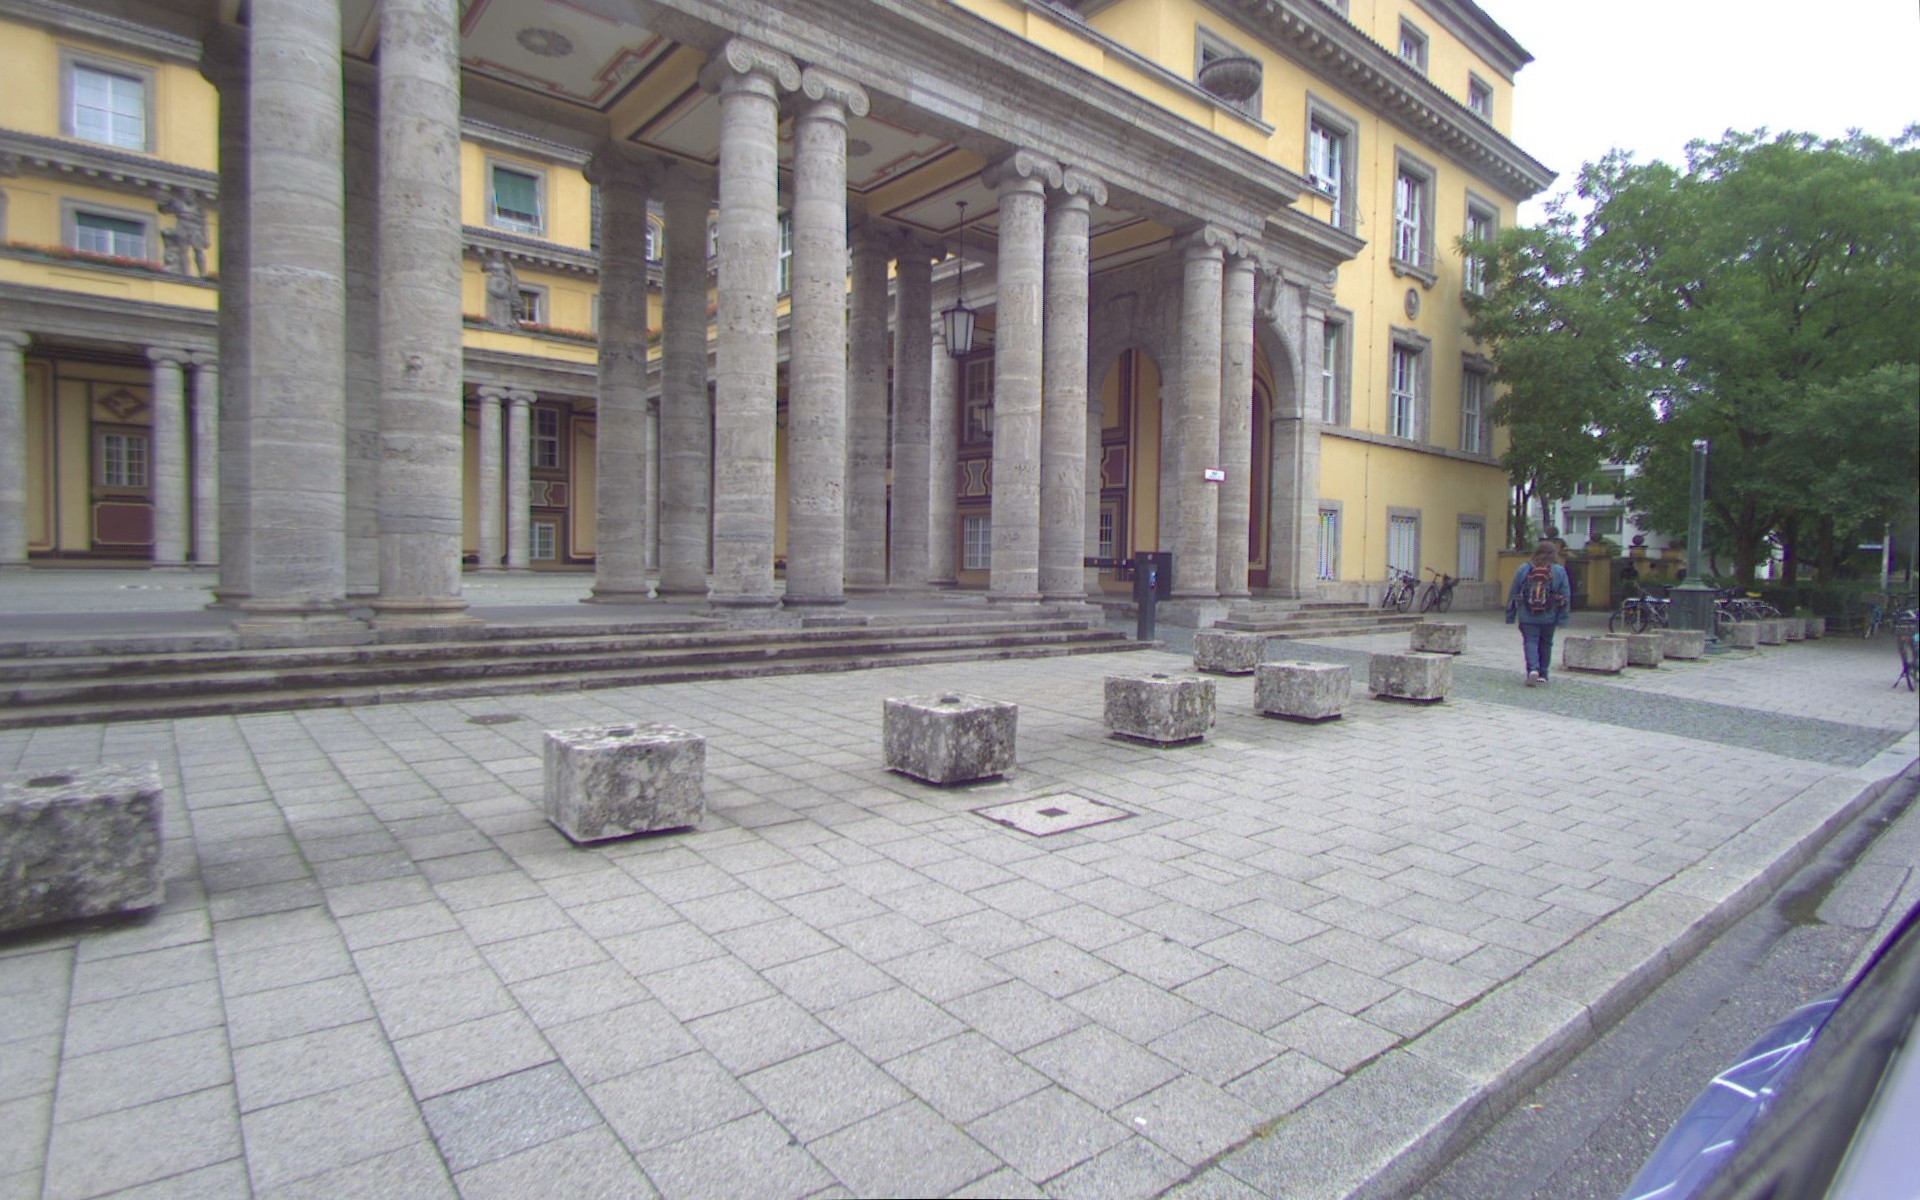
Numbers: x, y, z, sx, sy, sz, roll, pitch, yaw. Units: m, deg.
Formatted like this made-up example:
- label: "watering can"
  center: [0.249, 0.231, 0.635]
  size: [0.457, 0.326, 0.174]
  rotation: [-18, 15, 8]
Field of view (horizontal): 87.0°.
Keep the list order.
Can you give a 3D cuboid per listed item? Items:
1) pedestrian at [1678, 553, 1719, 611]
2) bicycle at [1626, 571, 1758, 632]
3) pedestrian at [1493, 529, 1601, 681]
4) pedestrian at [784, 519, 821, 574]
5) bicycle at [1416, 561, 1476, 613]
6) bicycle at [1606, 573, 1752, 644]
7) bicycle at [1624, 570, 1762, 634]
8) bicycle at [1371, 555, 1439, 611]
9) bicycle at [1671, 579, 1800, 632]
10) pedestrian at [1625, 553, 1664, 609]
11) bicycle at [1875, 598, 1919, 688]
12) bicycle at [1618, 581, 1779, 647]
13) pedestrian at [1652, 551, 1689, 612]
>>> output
- label: "pedestrian"
  center: [25.136, -0.634, 34.446]
  size: [1.017, 1.887, 0.782]
  rotation: [-1, 6, -41]
- label: "bicycle"
  center: [16.195, 0.003, 22.431]
  size: [2.256, 1.035, 0.593]
  rotation: [10, 8, 39]
- label: "pedestrian"
  center: [7.222, 0.033, 12.455]
  size: [1.037, 1.767, 0.789]
  rotation: [-1, 3, -41]
- label: "pedestrian"
  center: [-5.151, -1.752, 33.115]
  size: [0.965, 1.742, 0.807]
  rotation: [-1, 0, -29]
- label: "bicycle"
  center: [12.848, -0.350, 26.706]
  size: [2.127, 1.323, 0.601]
  rotation: [-1, 3, -41]
- label: "bicycle"
  center: [14.401, 0.145, 20.322]
  size: [2.256, 1.107, 0.593]
  rotation: [10, 8, 39]
- label: "bicycle"
  center: [15.660, 0.017, 21.674]
  size: [2.256, 1.071, 0.593]
  rotation: [10, 8, 39]
- label: "bicycle"
  center: [11.096, -0.435, 25.190]
  size: [2.224, 1.323, 0.601]
  rotation: [-1, 3, -41]
- label: "bicycle"
  center: [18.006, 0.108, 23.564]
  size: [0.591, 1.023, 2.264]
  rotation: [1, 4, -37]
- label: "pedestrian"
  center: [22.307, -0.632, 32.986]
  size: [0.827, 1.764, 0.741]
  rotation: [-1, 6, -40]
- label: "bicycle"
  center: [13.278, 0.568, 13.889]
  size: [2.225, 1.113, 0.762]
  rotation: [-1, 5, -41]
- label: "bicycle"
  center: [13.949, 0.234, 19.171]
  size: [2.362, 1.018, 0.668]
  rotation: [7, 5, 42]
- label: "pedestrian"
  center: [22.723, -0.610, 32.385]
  size: [0.806, 1.887, 0.659]
  rotation: [-1, 6, -40]
